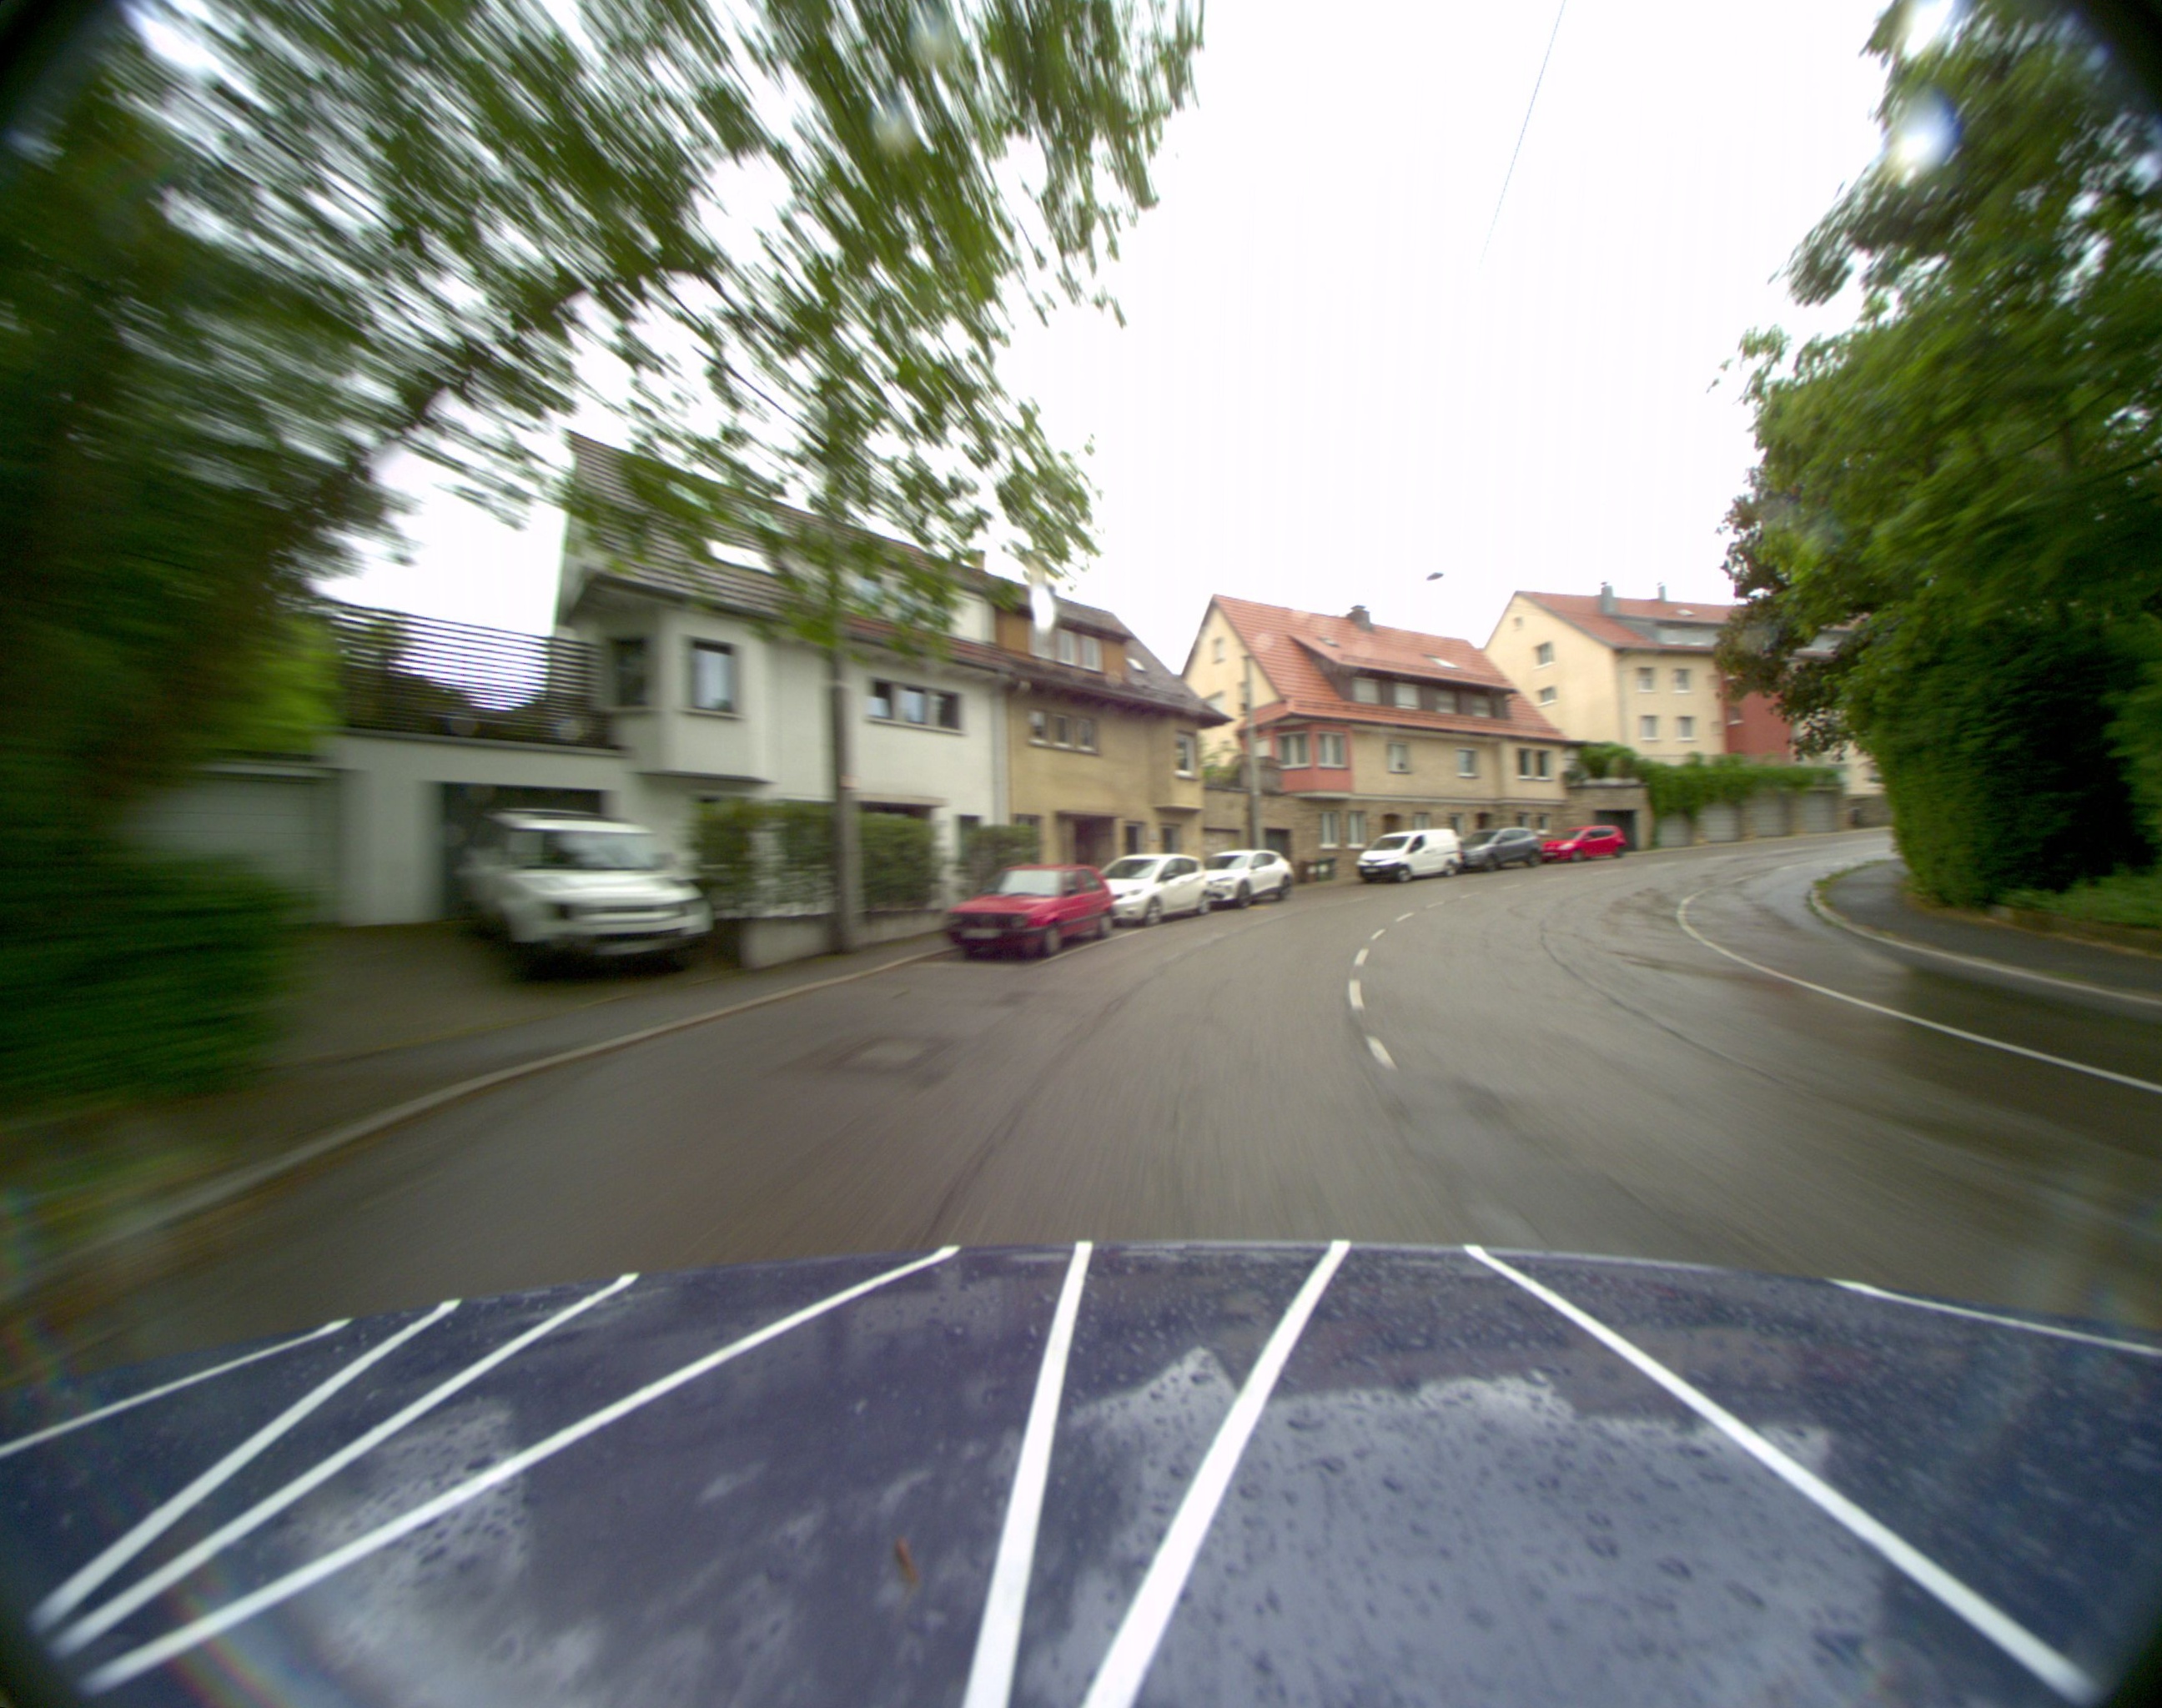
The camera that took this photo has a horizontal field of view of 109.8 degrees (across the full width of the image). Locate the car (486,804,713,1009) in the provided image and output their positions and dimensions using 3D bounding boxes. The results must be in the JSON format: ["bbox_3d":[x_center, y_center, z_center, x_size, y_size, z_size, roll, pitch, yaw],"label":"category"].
[{"bbox_3d":[-6.687,0.445,10.318,2.004,1.834,4.393,-1,9,-40],"label":"car"}]

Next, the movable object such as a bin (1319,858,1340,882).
[{"bbox_3d":[9.847,0.627,30.072,0.513,0.917,0.580,-4,2,-25],"label":"movable object such as a bin"}]

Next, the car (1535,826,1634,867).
[{"bbox_3d":[21.756,-0.324,32.869,3.583,1.427,1.618,-5,1,-18],"label":"car"}]

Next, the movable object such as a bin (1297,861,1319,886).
[{"bbox_3d":[8.834,0.745,29.564,0.513,0.917,0.580,-4,2,-25],"label":"movable object such as a bin"}]

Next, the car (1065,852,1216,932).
[{"bbox_3d":[1.468,0.798,17.421,1.766,1.506,3.830,-2,1,33],"label":"car"}]

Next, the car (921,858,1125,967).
[{"bbox_3d":[-0.775,0.873,13.024,1.782,1.359,4.201,-2,2,21],"label":"car"}]

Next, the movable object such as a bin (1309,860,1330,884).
[{"bbox_3d":[9.343,0.696,29.798,0.513,0.917,0.580,-4,2,-25],"label":"movable object such as a bin"}]

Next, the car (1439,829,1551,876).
[{"bbox_3d":[16.808,-0.071,30.812,4.416,1.595,1.617,-4,0,-26],"label":"car"}]

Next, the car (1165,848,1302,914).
[{"bbox_3d":[4.397,0.689,21.390,1.914,1.529,4.423,-2,1,38],"label":"car"}]

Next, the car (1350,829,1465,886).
[{"bbox_3d":[12.285,0.111,28.529,4.332,1.780,1.707,-4,-1,-32],"label":"car"}]
